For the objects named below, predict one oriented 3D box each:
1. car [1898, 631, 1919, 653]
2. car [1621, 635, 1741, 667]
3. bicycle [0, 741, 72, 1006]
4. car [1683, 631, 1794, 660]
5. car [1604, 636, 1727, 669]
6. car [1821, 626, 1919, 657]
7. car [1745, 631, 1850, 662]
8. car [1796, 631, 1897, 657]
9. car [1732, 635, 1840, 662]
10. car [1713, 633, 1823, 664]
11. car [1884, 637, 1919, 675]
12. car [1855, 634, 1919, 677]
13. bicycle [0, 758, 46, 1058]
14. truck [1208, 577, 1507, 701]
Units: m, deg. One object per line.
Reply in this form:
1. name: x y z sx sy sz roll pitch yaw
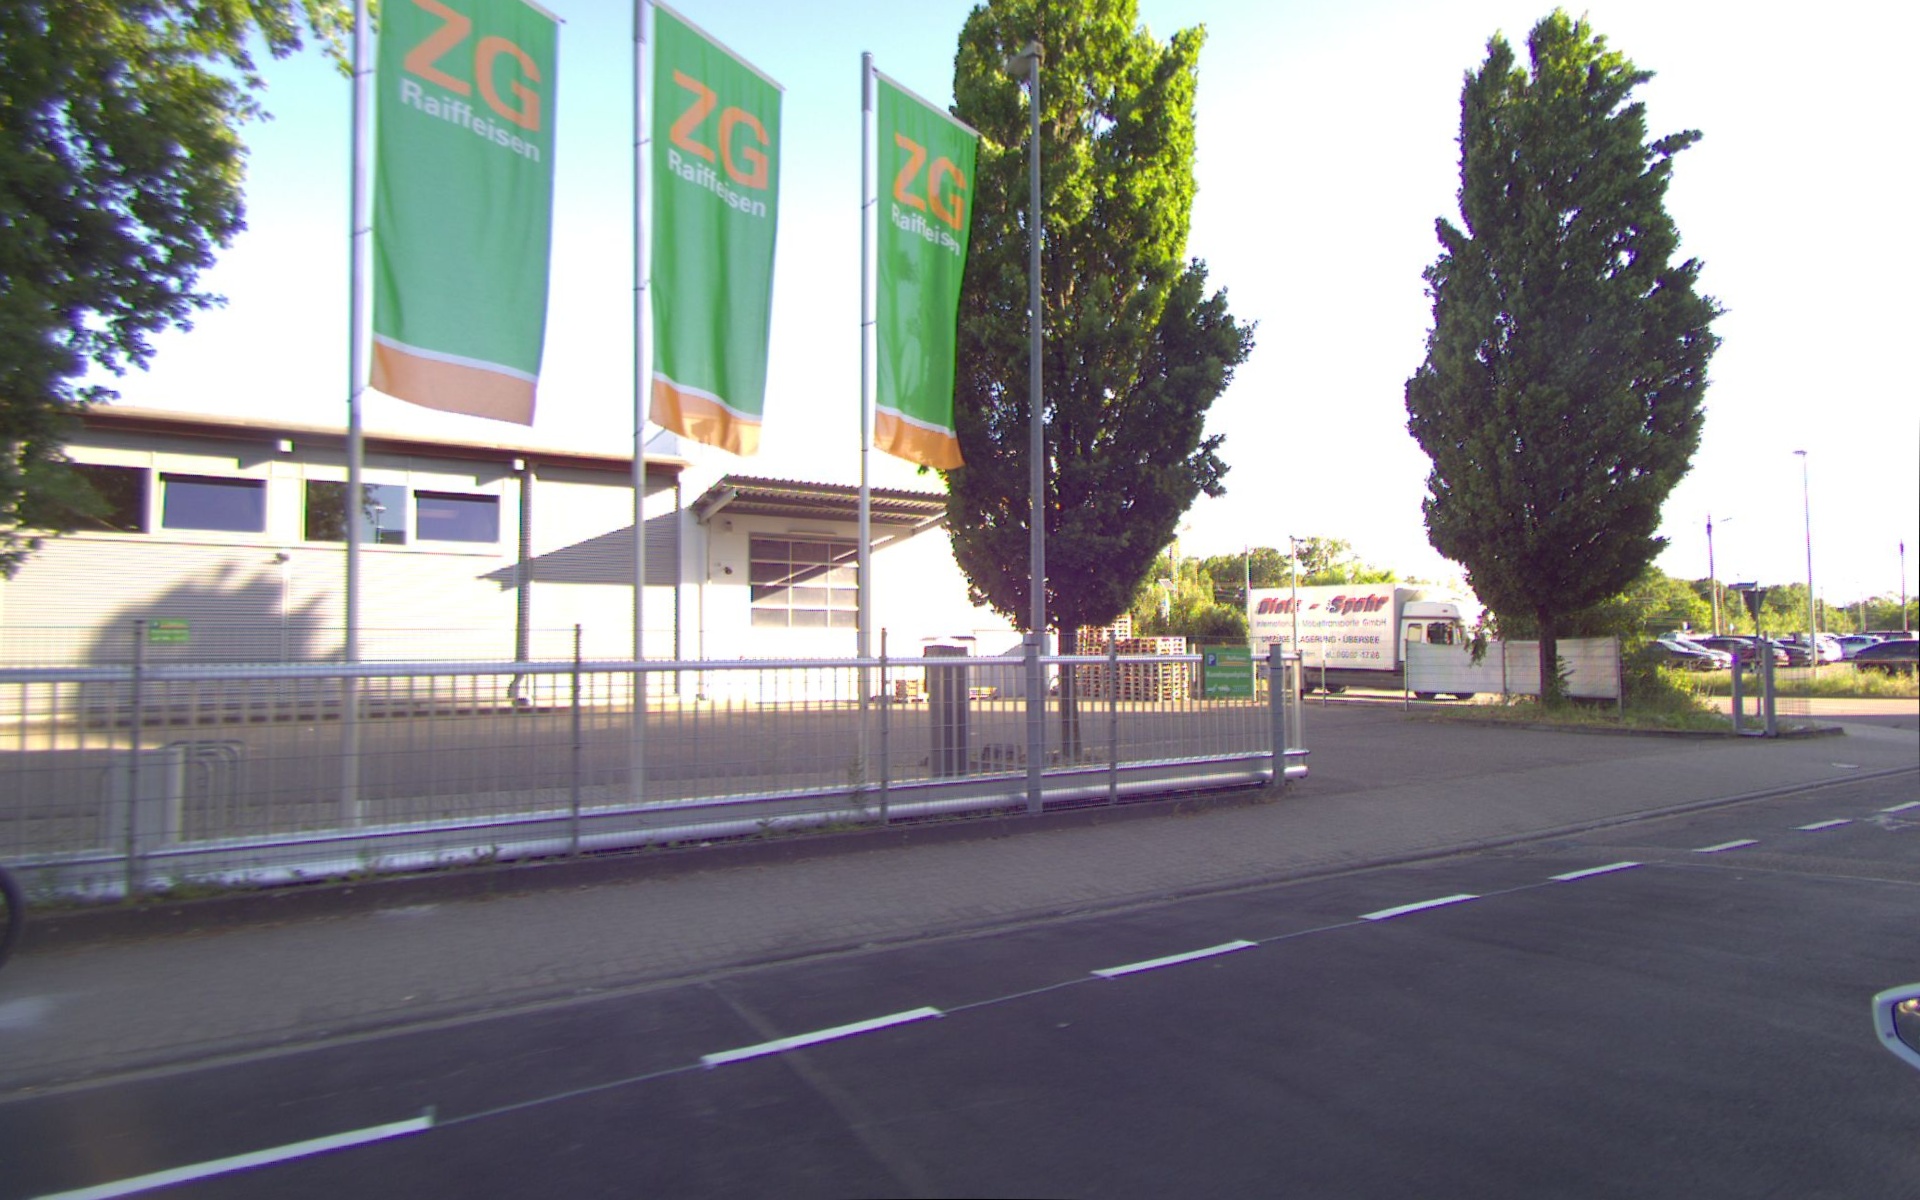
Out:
1. car: 68.181 2.910 69.621 1.855 1.543 4.303 0 -2 -29
2. car: 35.737 2.520 49.887 2.027 1.484 4.377 1 -3 -33
3. bicycle: -5.199 1.279 4.426 1.848 1.164 0.467 1 -1 -31
4. car: 40.375 2.374 52.177 2.027 1.415 4.136 1 -3 -33
5. car: 33.675 2.522 48.053 2.027 1.484 4.377 1 -3 -33
6. car: 56.979 2.593 62.714 1.835 1.829 4.557 0 -2 -29
7. car: 46.882 2.615 56.315 1.945 1.683 4.137 1 -3 -33
8. car: 54.665 2.699 62.024 1.835 1.566 4.348 0 -2 -29
9. car: 45.067 2.644 54.888 2.027 1.415 4.136 1 -3 -33
10. car: 43.042 2.574 53.566 2.027 1.599 4.136 1 -3 -33
11. car: 39.259 2.161 39.093 2.023 1.481 4.411 1 -3 -29
12. car: 36.786 2.082 37.634 2.023 1.601 4.411 1 -3 -29
13. bicycle: -4.911 1.267 3.731 2.175 1.164 0.443 1 -1 -31
14. truck: 13.182 1.349 34.703 2.744 3.662 10.049 2 -3 -31
